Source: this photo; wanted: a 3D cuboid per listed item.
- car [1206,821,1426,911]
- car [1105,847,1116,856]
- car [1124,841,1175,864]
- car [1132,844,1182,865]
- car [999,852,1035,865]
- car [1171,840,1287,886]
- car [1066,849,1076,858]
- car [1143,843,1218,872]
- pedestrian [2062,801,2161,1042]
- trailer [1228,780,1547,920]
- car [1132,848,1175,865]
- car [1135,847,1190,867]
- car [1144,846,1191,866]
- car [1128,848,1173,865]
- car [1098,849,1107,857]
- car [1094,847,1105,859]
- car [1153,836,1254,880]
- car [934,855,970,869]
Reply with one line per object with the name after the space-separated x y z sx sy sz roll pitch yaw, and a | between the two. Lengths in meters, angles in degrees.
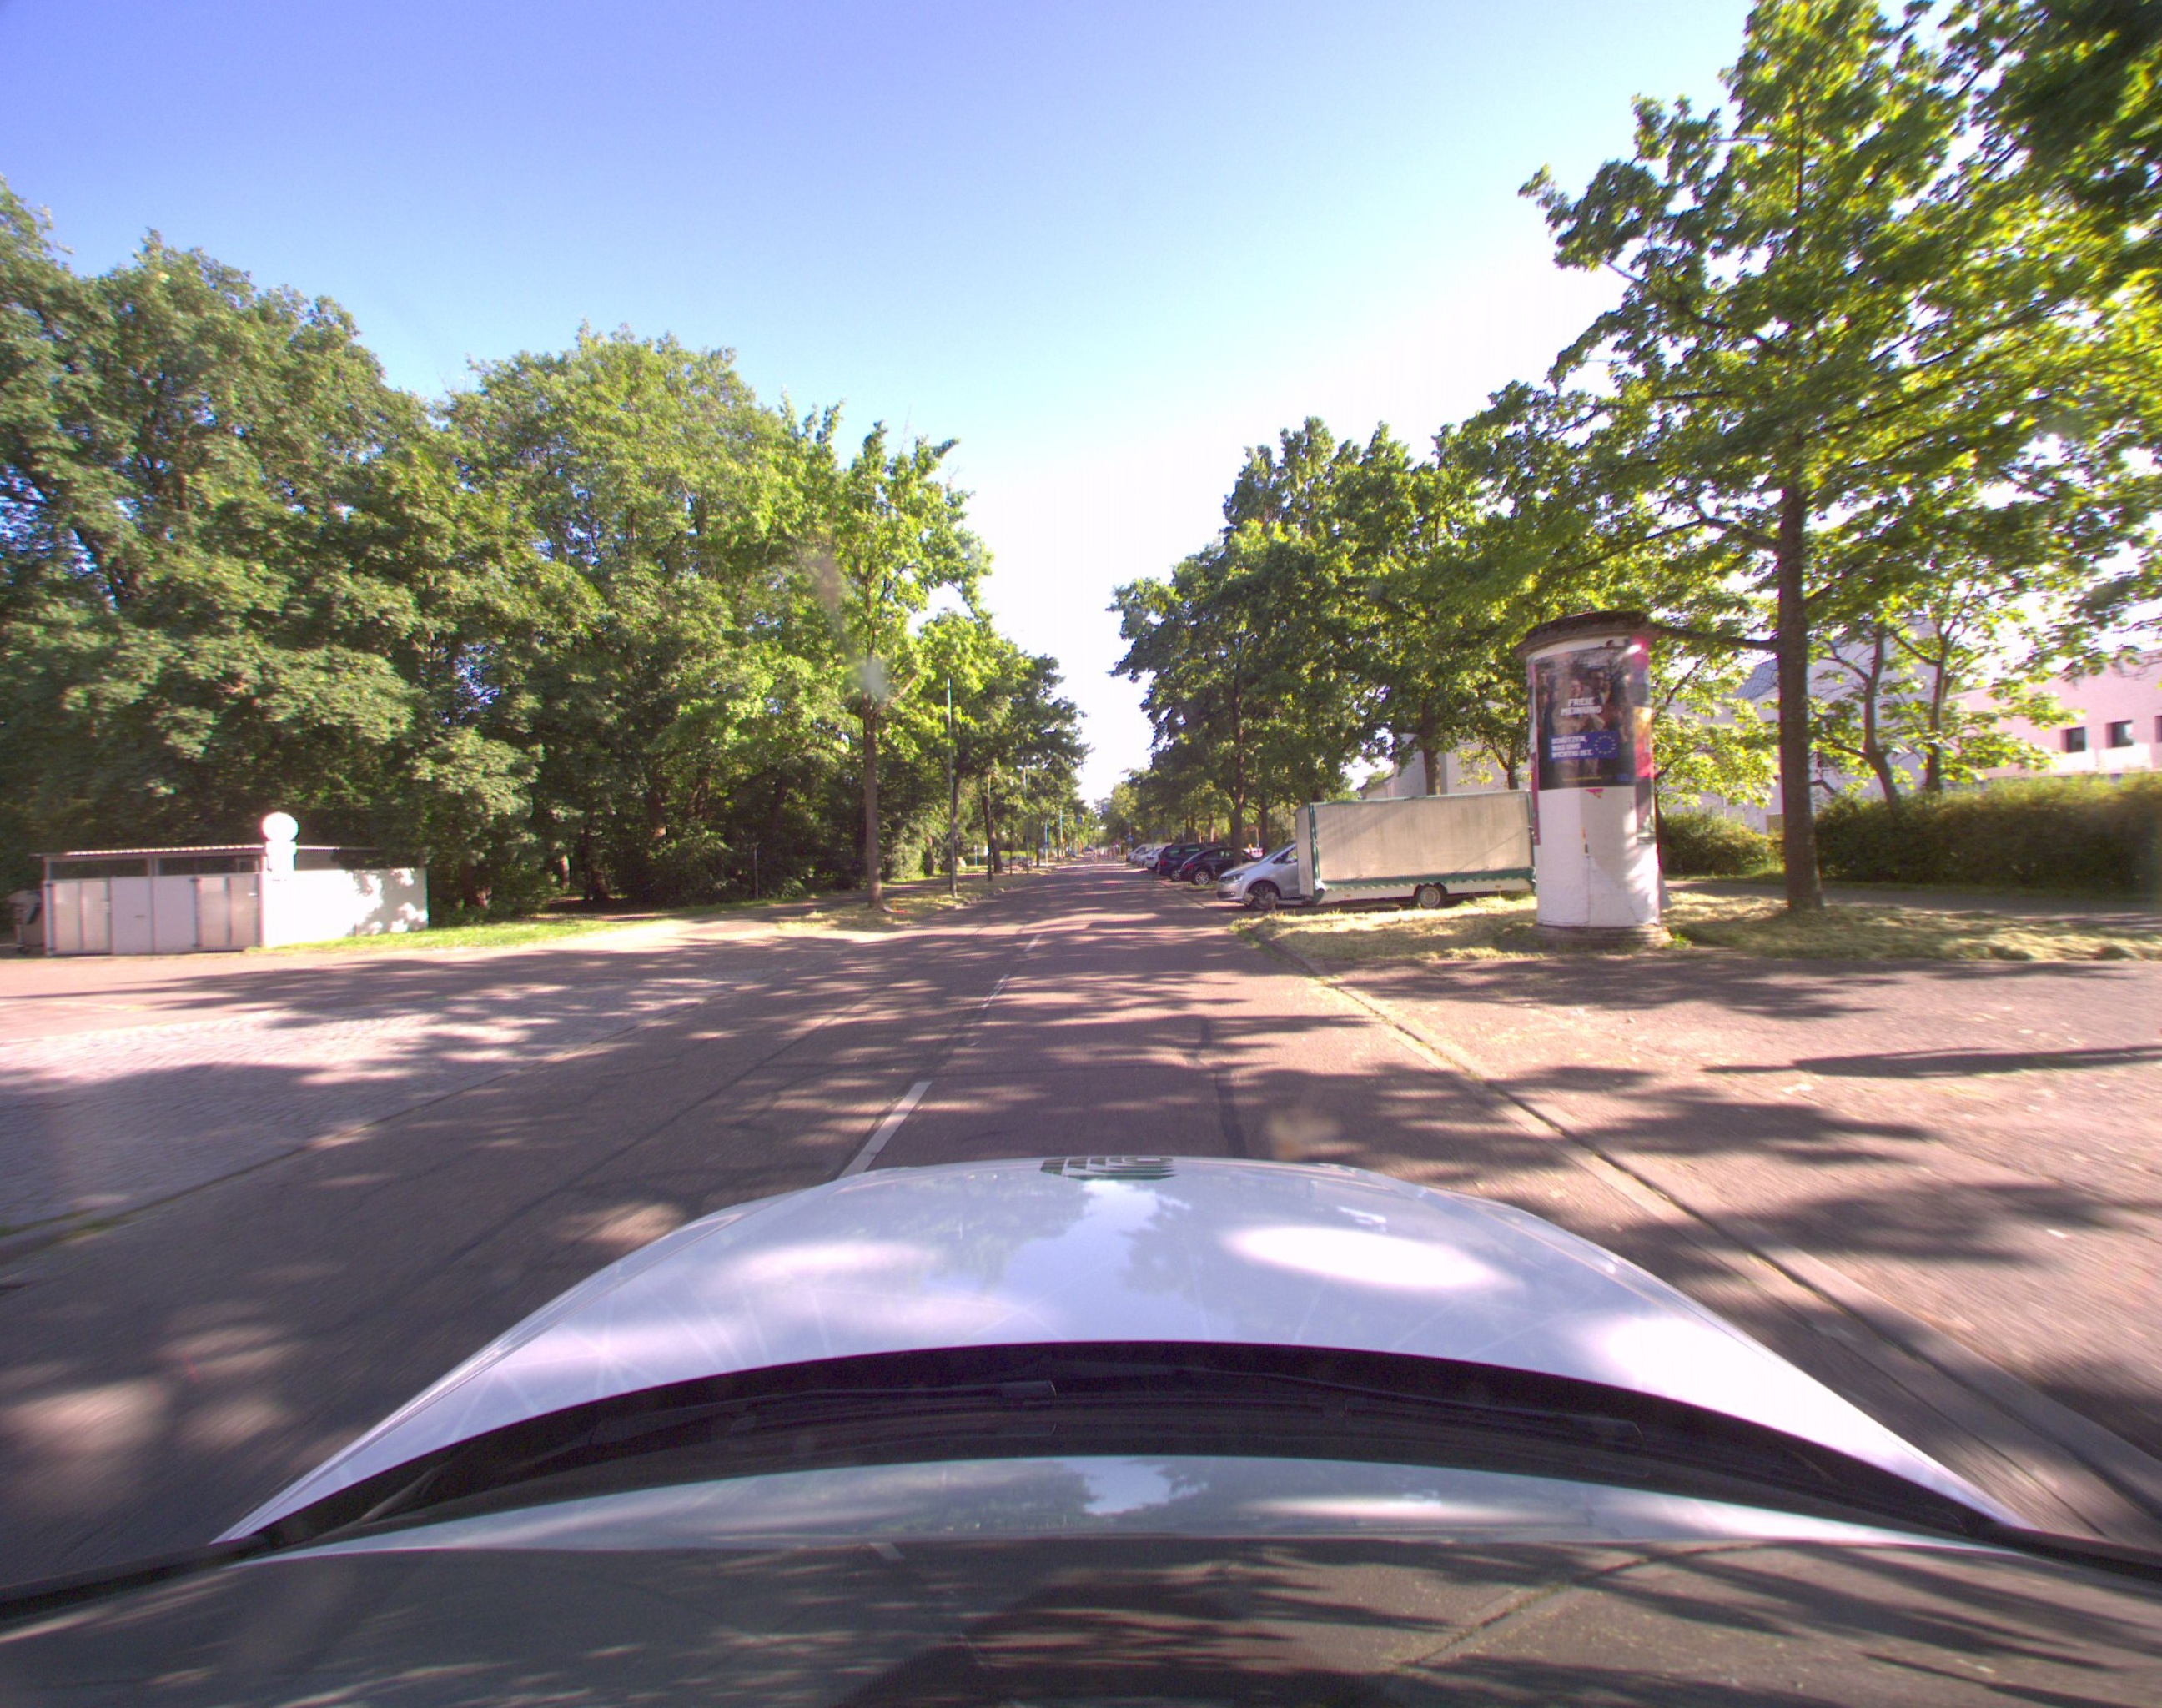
5.454 0.265 19.425 4.624 1.722 1.989 -4 0 2 | car
5.911 -0.504 163.175 1.987 1.716 4.001 -2 0 1 | car
7.196 -0.158 86.358 5.171 2.105 2.082 -3 0 -1 | car
7.094 0.051 76.045 4.371 1.651 1.850 -4 0 -1 | car
-7.998 0.533 101.371 3.954 1.484 2.010 -2 0 19 | car
5.788 0.324 32.345 4.228 1.519 2.079 -3 0 2 | car
-2.011 -0.101 169.463 1.987 1.716 4.001 -2 0 1 | car
6.434 0.229 53.257 4.653 1.580 1.917 -4 0 1 | car
7.209 0.405 5.166 0.941 1.500 0.881 -4 0 -12 | pedestrian
6.079 -0.070 16.648 5.750 2.317 1.687 -4 0 3 | trailer
6.964 0.234 78.534 3.970 1.433 1.902 -2 0 3 | car
6.826 0.265 68.440 4.429 1.390 1.911 -3 0 1 | car
7.594 0.180 71.555 3.872 1.497 1.777 -4 0 0 | car
6.899 0.266 81.100 4.200 1.568 1.933 -2 0 -1 | car
4.705 -0.264 178.953 1.987 1.716 4.001 -2 0 1 | car
3.225 -0.158 141.968 1.987 1.933 4.001 -2 0 1 | car
5.810 0.186 38.958 4.513 1.801 1.937 -3 0 1 | car
-16.304 0.985 103.022 3.966 1.655 2.004 -2 0 6 | car
